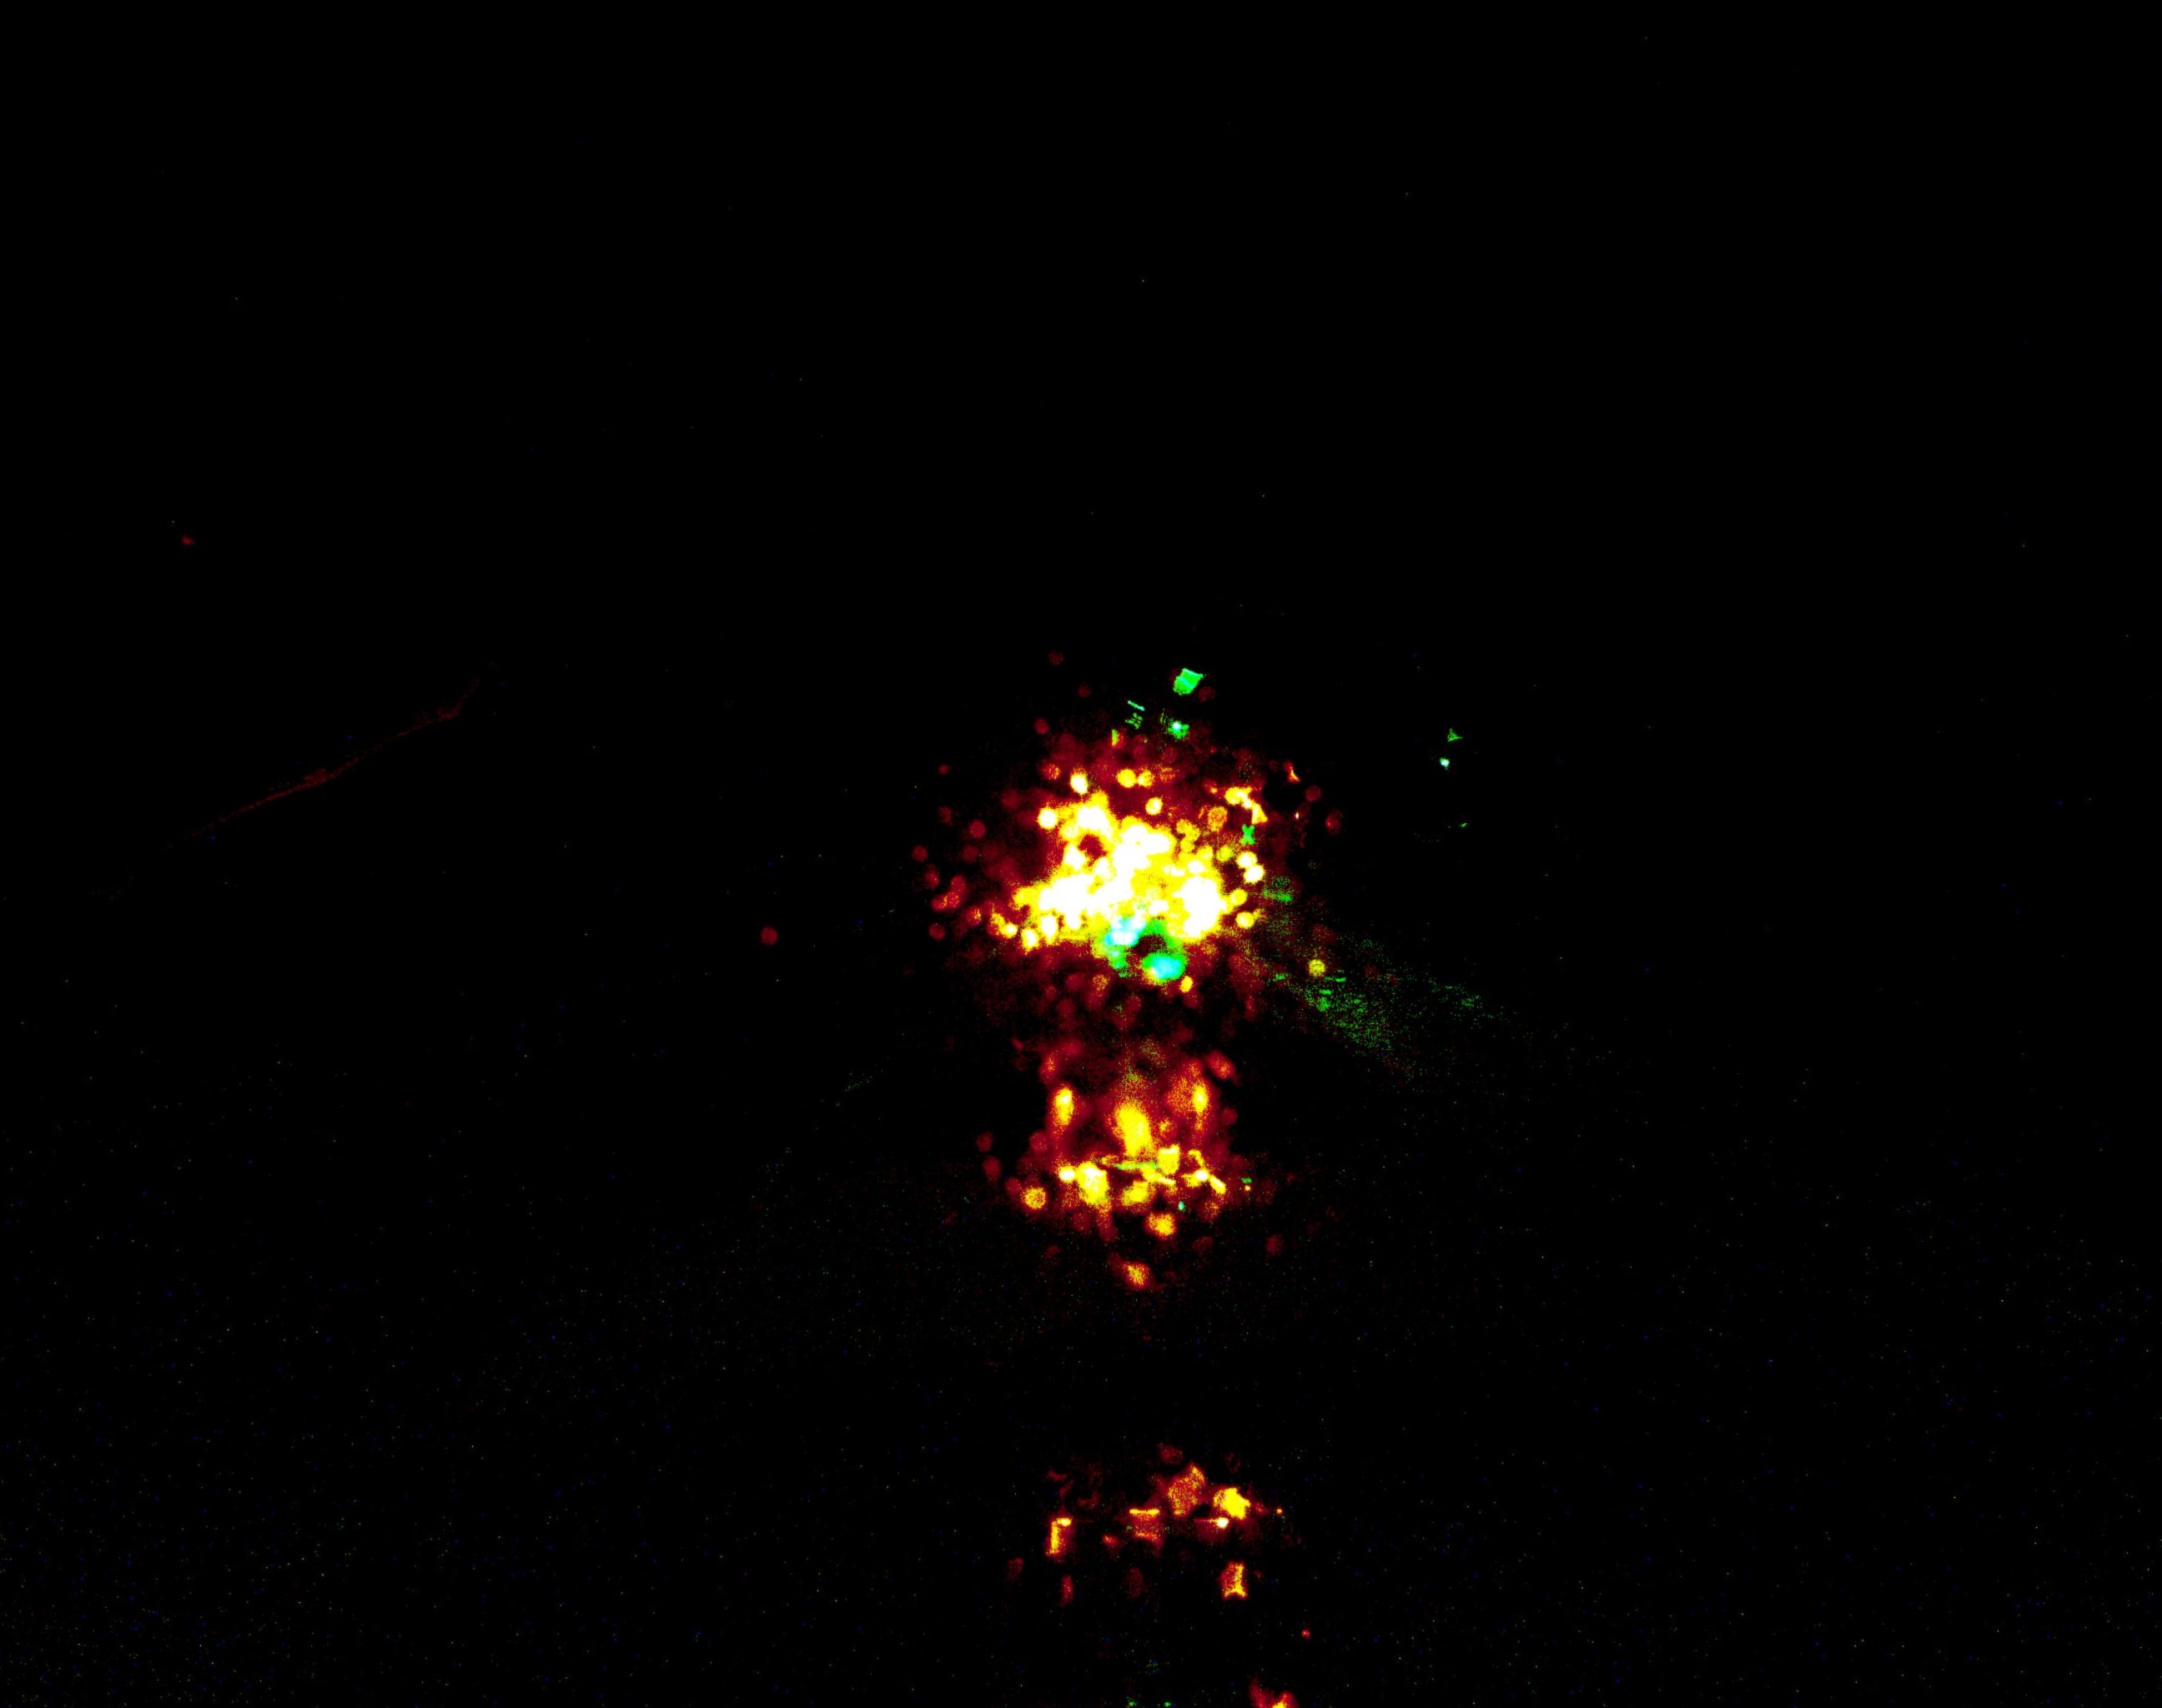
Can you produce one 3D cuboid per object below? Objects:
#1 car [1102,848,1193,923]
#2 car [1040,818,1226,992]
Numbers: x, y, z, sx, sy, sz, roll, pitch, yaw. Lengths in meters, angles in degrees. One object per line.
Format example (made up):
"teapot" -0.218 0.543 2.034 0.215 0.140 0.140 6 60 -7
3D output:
"car" 1.511 0.613 17.858 1.735 1.415 4.007 -2 0 6
"car" 0.645 0.480 9.972 1.783 1.681 3.909 -1 1 4
